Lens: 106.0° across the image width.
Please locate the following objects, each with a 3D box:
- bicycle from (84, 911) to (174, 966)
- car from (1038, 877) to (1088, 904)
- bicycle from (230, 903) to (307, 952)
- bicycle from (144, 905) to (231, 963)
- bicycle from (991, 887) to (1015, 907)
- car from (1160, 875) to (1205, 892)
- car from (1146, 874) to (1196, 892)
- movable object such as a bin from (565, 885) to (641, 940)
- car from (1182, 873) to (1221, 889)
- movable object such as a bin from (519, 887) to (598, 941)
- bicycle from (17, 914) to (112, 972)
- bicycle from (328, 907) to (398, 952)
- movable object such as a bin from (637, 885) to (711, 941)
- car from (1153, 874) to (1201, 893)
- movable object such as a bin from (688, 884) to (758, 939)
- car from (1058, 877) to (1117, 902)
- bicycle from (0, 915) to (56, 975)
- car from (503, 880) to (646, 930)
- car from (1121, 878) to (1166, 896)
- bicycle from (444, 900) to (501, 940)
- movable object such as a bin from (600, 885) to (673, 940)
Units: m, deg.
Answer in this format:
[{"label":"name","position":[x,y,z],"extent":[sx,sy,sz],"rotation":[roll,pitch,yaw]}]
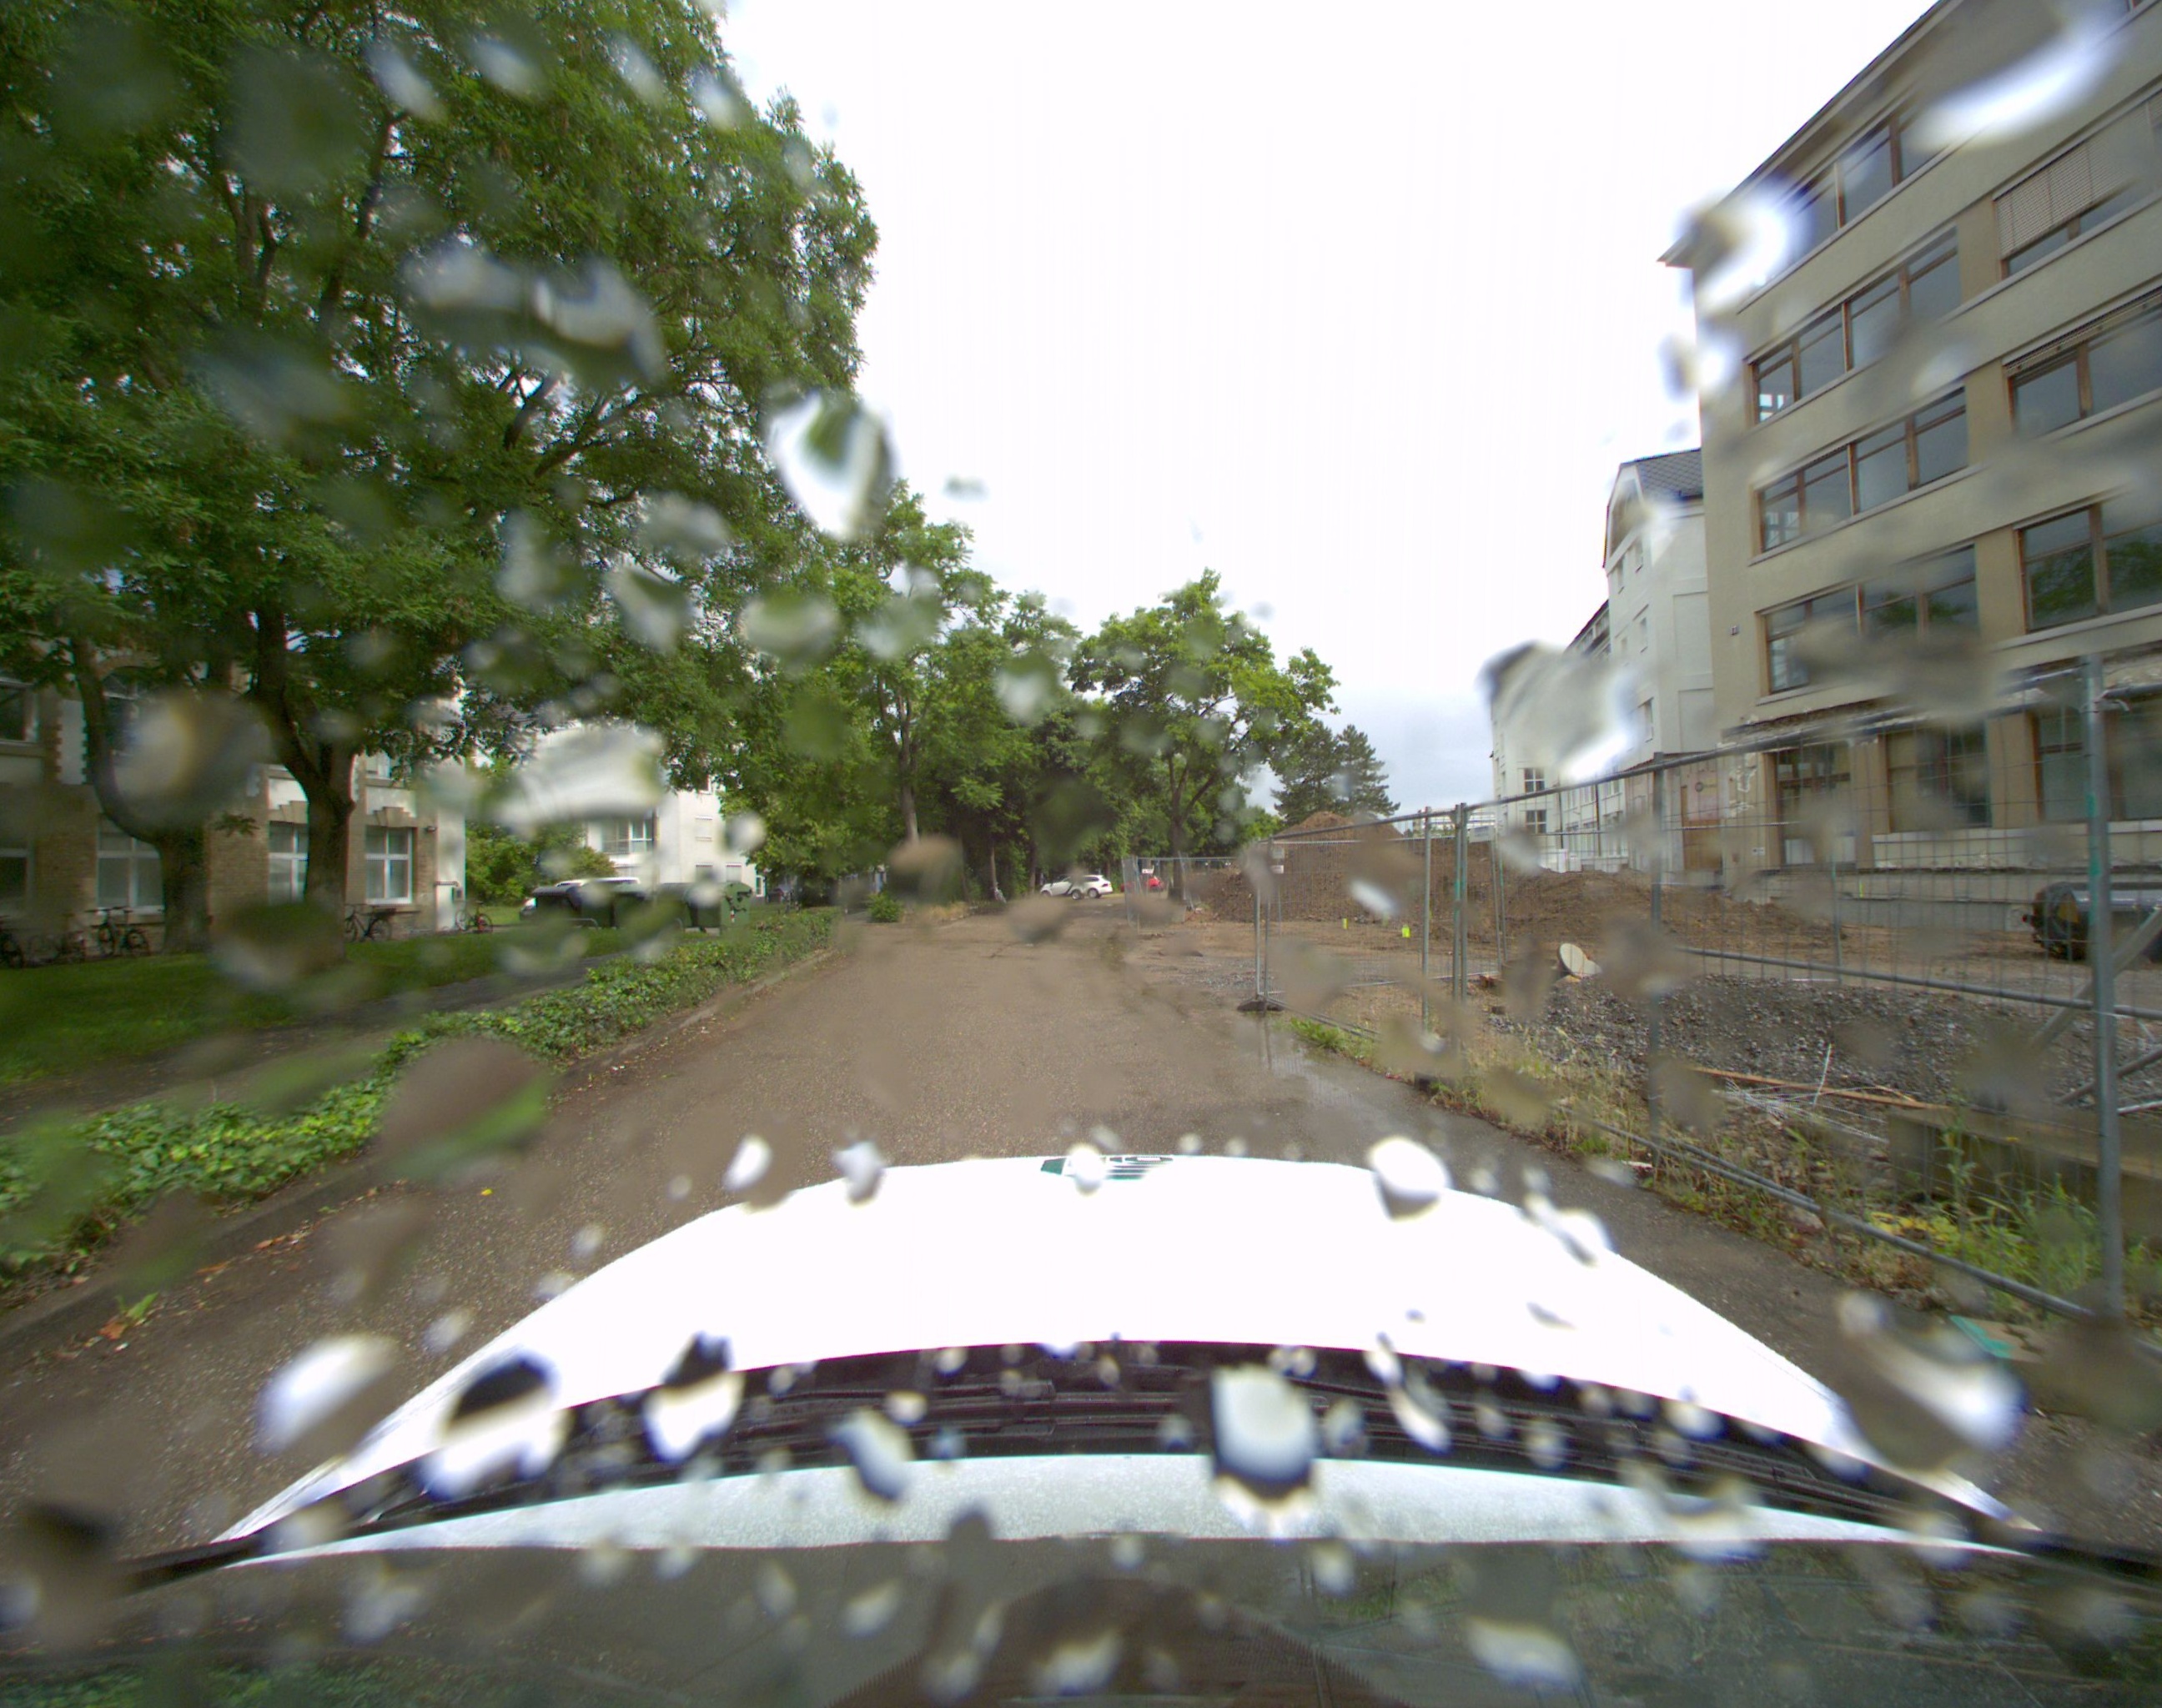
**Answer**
[{"label":"bicycle","position":[-20.855,1.843,17.838],"extent":[1.904,1.116,0.620],"rotation":[-3,-1,19]},{"label":"car","position":[-1.062,2.194,48.850],"extent":[2.738,1.484,1.596],"rotation":[-2,-1,7]},{"label":"bicycle","position":[-20.069,1.817,20.122],"extent":[1.767,1.116,0.620],"rotation":[-3,-1,19]},{"label":"bicycle","position":[-20.536,1.841,18.715],"extent":[1.904,1.224,0.620],"rotation":[-3,-1,19]},{"label":"bicycle","position":[-3.536,1.946,37.086],"extent":[0.471,0.860,1.463],"rotation":[-1,0,20]},{"label":"car","position":[9.612,2.784,76.956],"extent":[3.913,1.517,1.813],"rotation":[-1,-1,15]},{"label":"car","position":[7.946,2.556,71.625],"extent":[3.954,1.496,2.003],"rotation":[-1,0,19]},{"label":"movable object such as a bin","position":[-13.975,1.709,23.842],"extent":[1.481,1.483,1.173],"rotation":[-3,-1,14]},{"label":"car","position":[12.615,2.803,85.082],"extent":[3.827,1.573,1.966],"rotation":[-1,-1,16]},{"label":"movable object such as a bin","position":[-15.494,1.769,24.179],"extent":[1.578,1.483,1.173],"rotation":[-3,-1,14]},{"label":"bicycle","position":[-21.112,1.847,16.906],"extent":[1.904,1.116,0.620],"rotation":[-3,-1,19]},{"label":"bicycle","position":[-19.404,2.038,22.012],"extent":[1.767,1.116,0.620],"rotation":[-3,-1,19]},{"label":"movable object such as a bin","position":[-11.323,1.616,22.711],"extent":[1.388,1.483,1.172],"rotation":[0,-2,13]},{"label":"car","position":[8.819,2.717,74.660],"extent":[4.077,1.650,1.854],"rotation":[-1,-1,14]},{"label":"movable object such as a bin","position":[-9.828,1.568,22.368],"extent":[1.466,1.473,1.111],"rotation":[-3,-3,30]},{"label":"car","position":[0.441,2.211,50.964],"extent":[3.413,1.468,1.744],"rotation":[-2,-1,7]},{"label":"bicycle","position":[-21.436,1.818,16.243],"extent":[1.904,1.116,0.620],"rotation":[-3,-1,19]},{"label":"car","position":[-21.495,2.127,34.826],"extent":[2.074,1.926,4.914],"rotation":[-3,-3,22]},{"label":"car","position":[5.000,2.637,65.396],"extent":[3.255,1.425,1.601],"rotation":[-1,-1,22]},{"label":"bicycle","position":[-18.377,1.995,24.603],"extent":[1.502,1.116,0.620],"rotation":[-3,-1,19]},{"label":"movable object such as a bin","position":[-12.642,1.655,23.215],"extent":[1.388,1.483,1.173],"rotation":[-1,-2,15]}]
